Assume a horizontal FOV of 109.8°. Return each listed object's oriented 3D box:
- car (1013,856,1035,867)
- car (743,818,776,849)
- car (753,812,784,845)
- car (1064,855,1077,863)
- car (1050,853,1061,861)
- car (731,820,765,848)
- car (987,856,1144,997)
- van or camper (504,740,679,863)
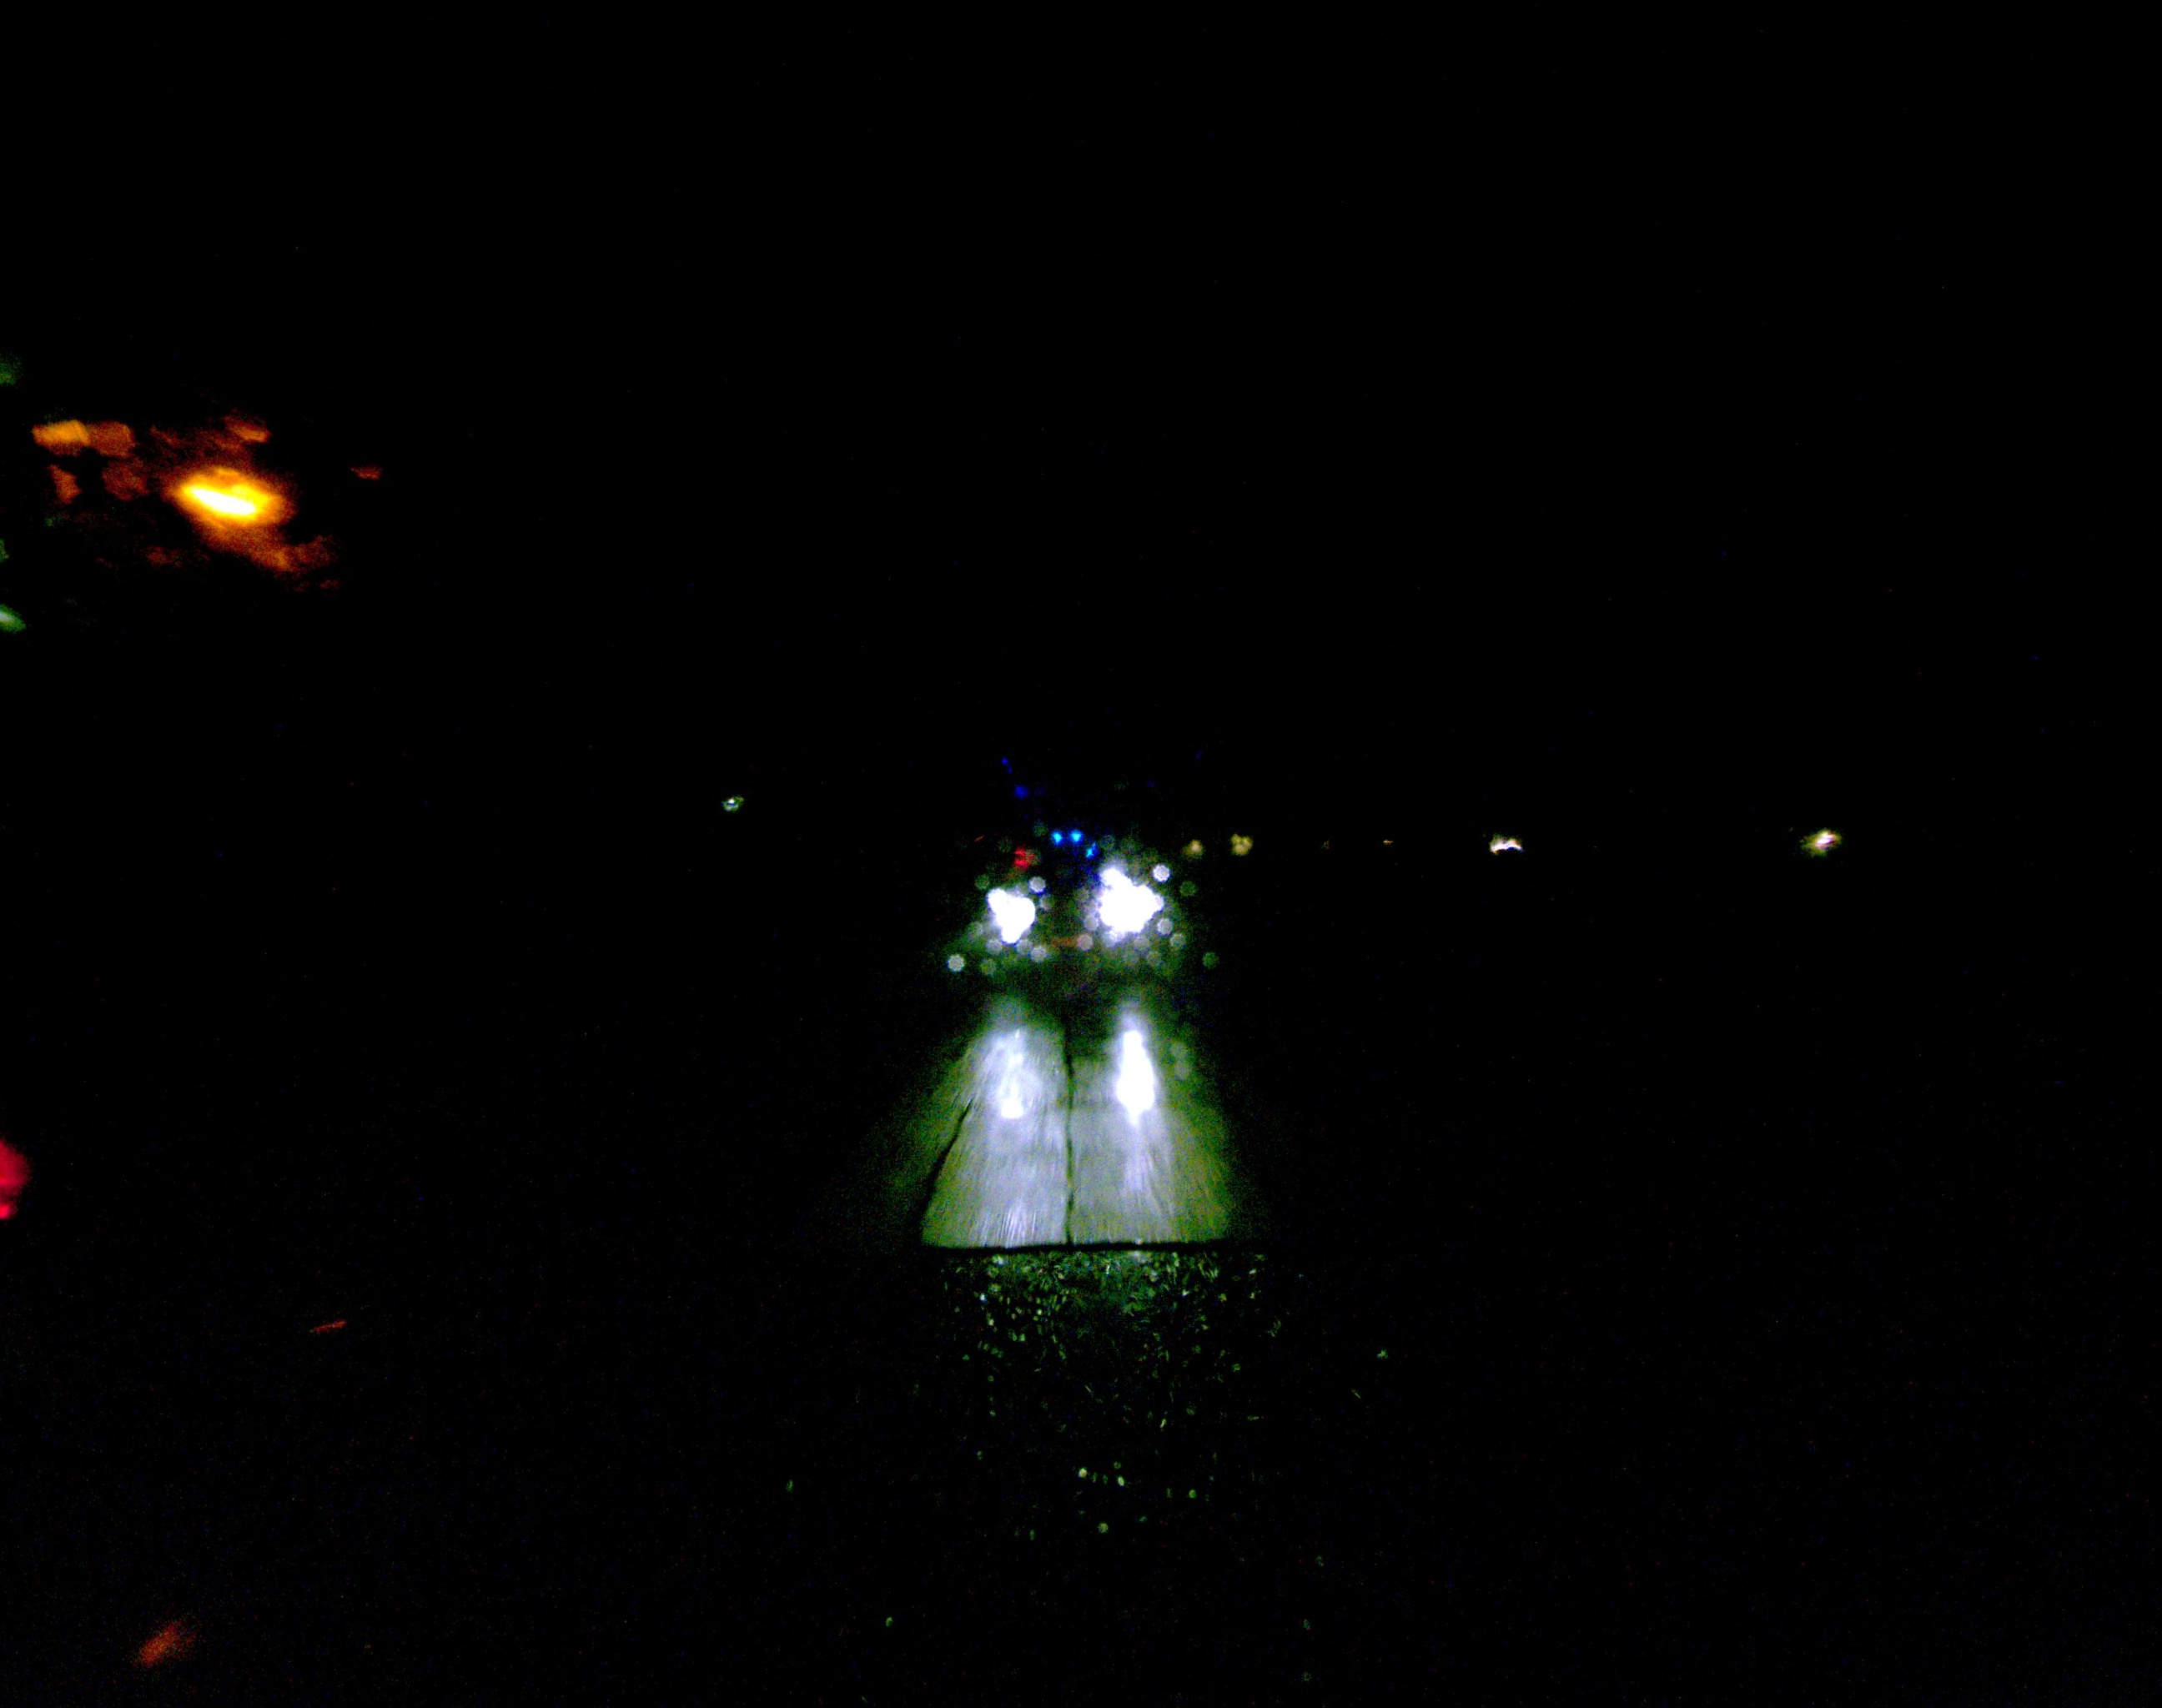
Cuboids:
[{"bbox_3d":[-10.908,1.404,145.848,2.004,2.002,3.989,-3,1,-42],"label":"car"},{"bbox_3d":[-26.360,-1.654,62.417,1.937,2.406,4.249,-3,1,-16],"label":"car"},{"bbox_3d":[-27.799,-2.234,67.636,1.937,2.759,4.249,-3,1,-16],"label":"car"},{"bbox_3d":[-2.209,1.079,161.750,1.894,1.559,4.482,-2,-1,-10],"label":"car"},{"bbox_3d":[-6.747,0.794,200.580,2.092,2.002,4.709,-2,1,-10],"label":"car"},{"bbox_3d":[-24.977,-1.477,57.068,1.735,2.002,3.696,-3,1,-16],"label":"car"},{"bbox_3d":[-0.161,0.880,11.336,1.826,1.573,4.354,-2,1,1],"label":"car"},{"bbox_3d":[-12.649,-1.222,20.192,2.417,2.777,5.763,-3,1,-19],"label":"van or camper"}]
